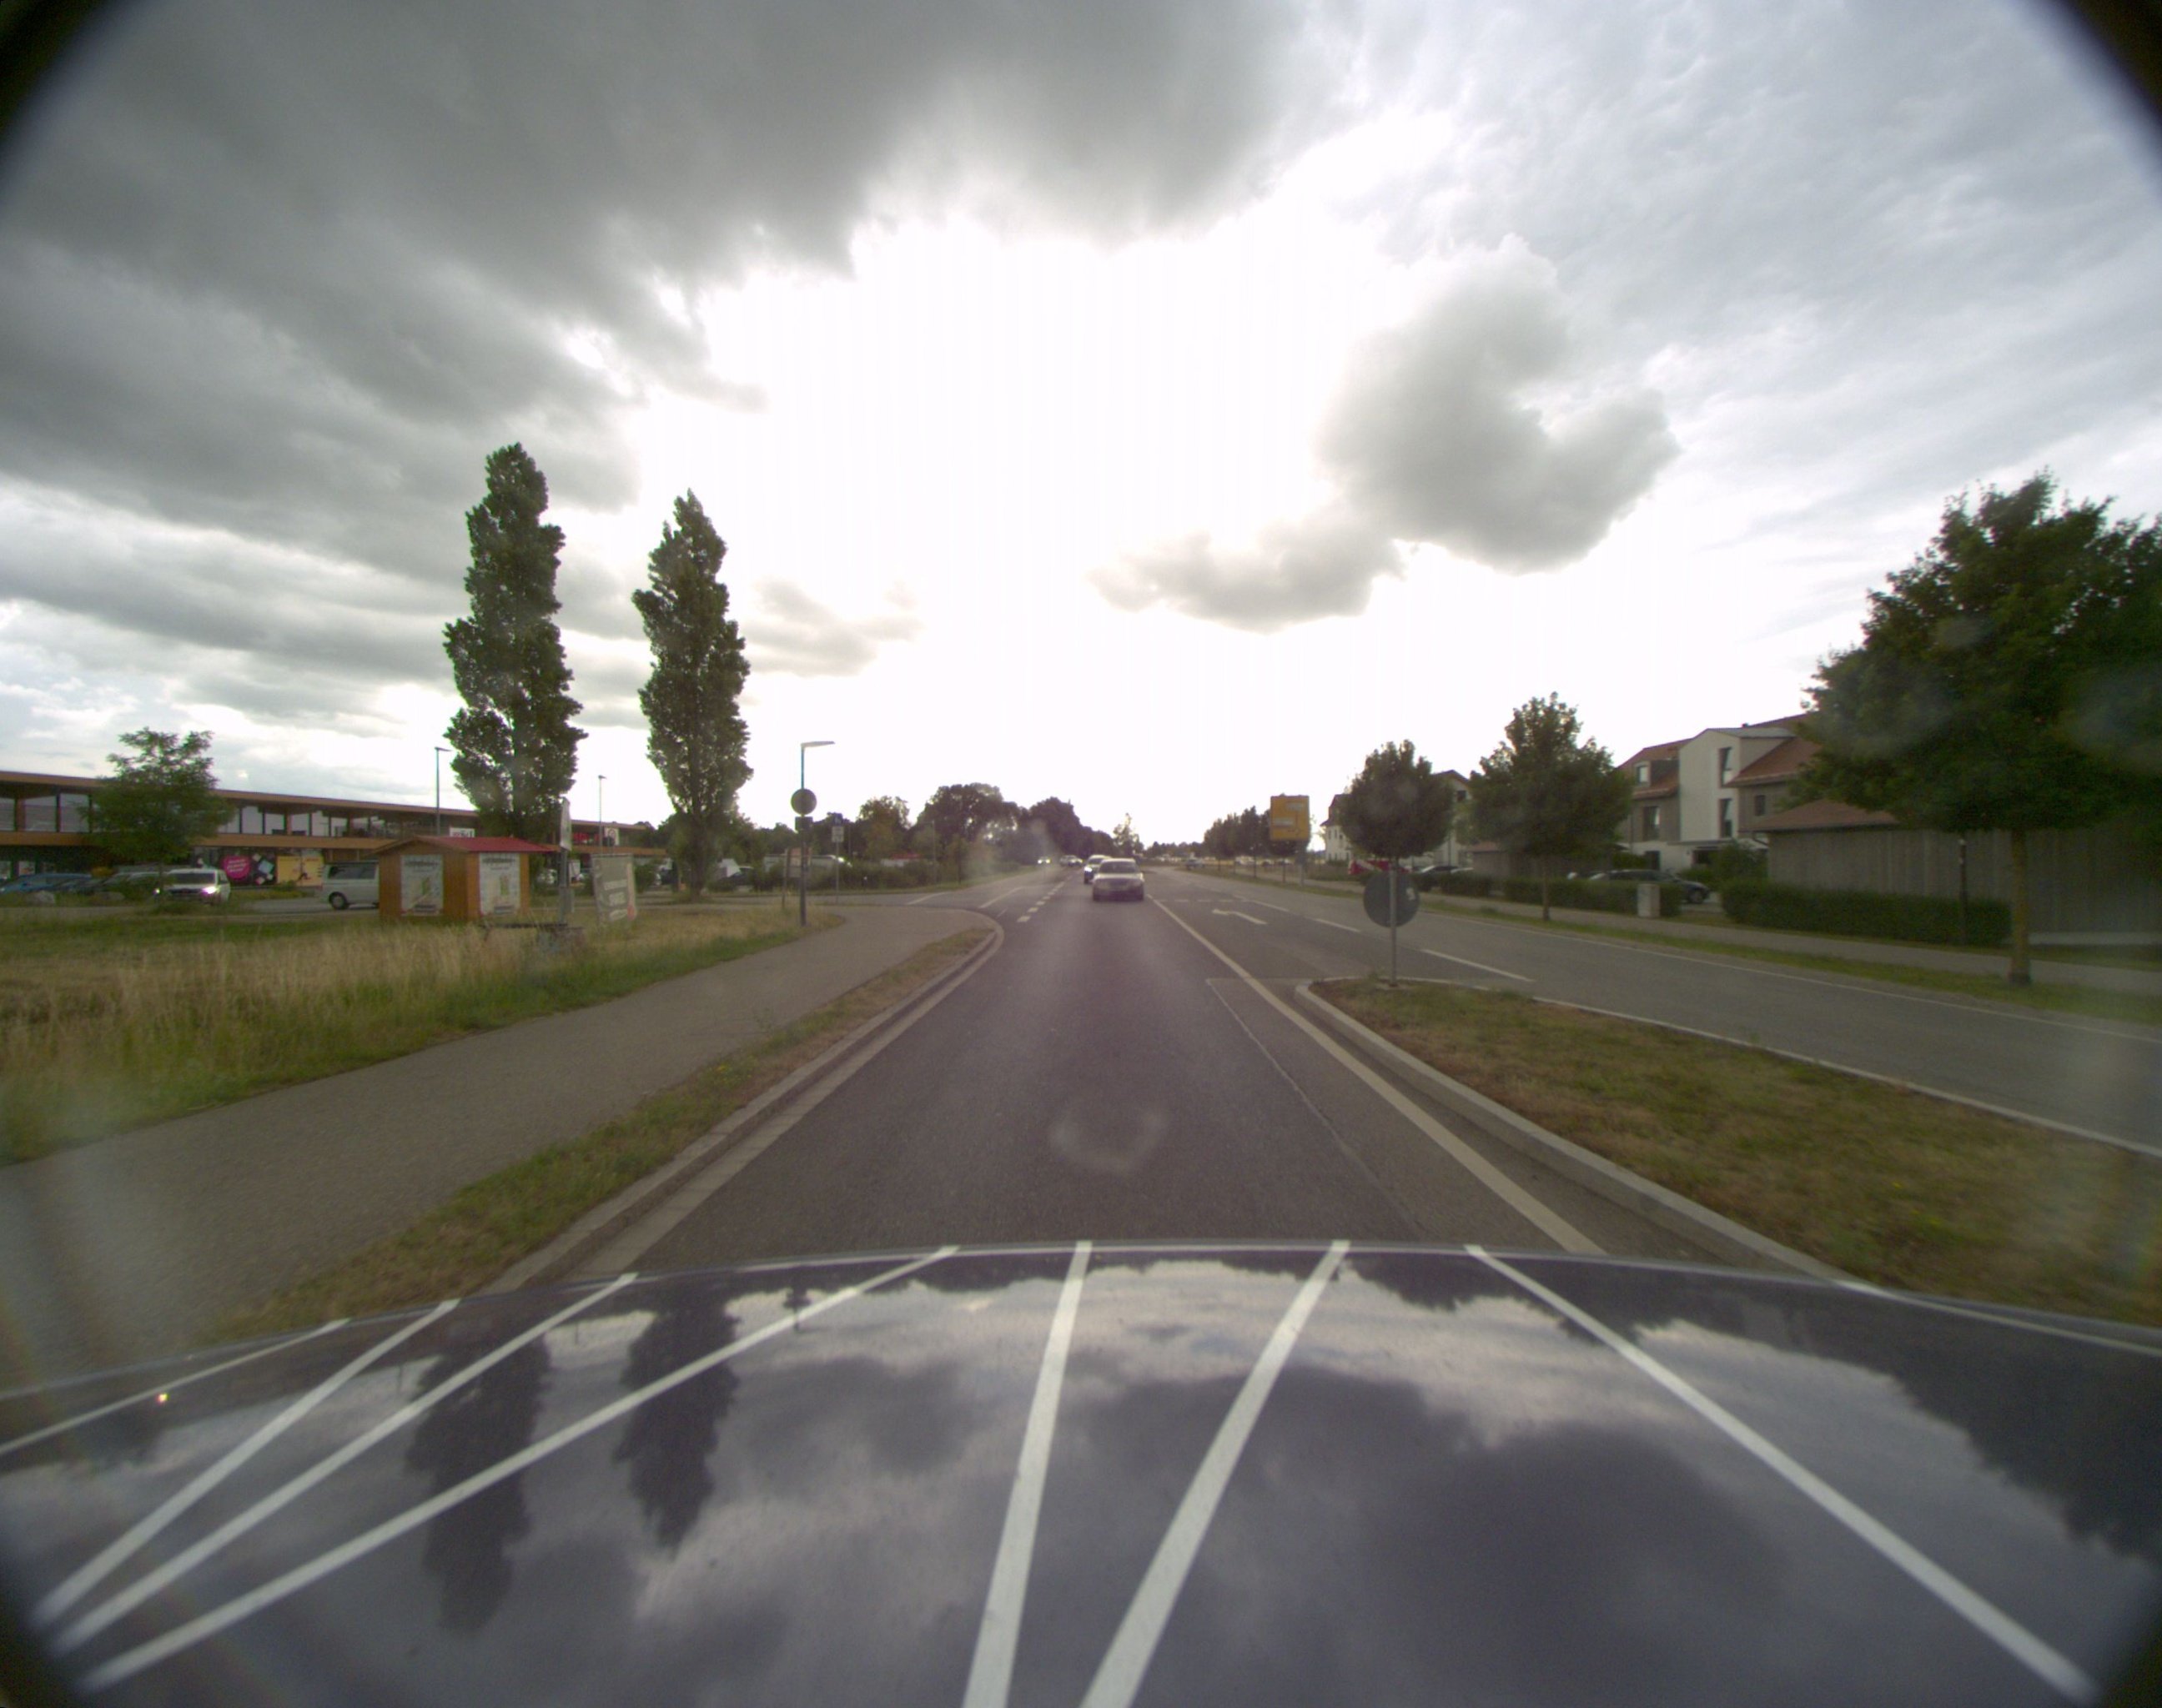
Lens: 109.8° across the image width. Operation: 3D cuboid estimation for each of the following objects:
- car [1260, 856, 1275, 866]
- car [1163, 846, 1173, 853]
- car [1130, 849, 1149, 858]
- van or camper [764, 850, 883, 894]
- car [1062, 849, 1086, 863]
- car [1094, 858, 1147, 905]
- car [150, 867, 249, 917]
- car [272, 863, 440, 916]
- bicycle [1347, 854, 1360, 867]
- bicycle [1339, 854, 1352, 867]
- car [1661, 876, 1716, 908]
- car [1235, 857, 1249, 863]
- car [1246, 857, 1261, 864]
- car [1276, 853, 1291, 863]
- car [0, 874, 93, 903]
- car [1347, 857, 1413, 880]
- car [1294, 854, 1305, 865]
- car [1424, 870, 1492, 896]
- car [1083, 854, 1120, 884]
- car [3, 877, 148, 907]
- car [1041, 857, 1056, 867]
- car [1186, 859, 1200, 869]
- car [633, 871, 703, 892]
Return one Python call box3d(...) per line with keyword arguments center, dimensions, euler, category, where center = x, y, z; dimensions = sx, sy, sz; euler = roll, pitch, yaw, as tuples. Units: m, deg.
box3d(center=(37.842, 1.376, 154.088), dimensions=(1.995, 2.002, 4.008), euler=(1, 0, 26), category="car")
box3d(center=(18.521, -1.001, 162.197), dimensions=(1.774, 1.435, 4.000), euler=(1, 0, 1), category="car")
box3d(center=(11.889, -0.028, 153.672), dimensions=(1.994, 1.674, 4.009), euler=(1, 0, 38), category="car")
box3d(center=(-15.695, 1.086, 46.583), dimensions=(6.483, 2.449, 2.281), euler=(1, 0, -1), category="van or camper")
box3d(center=(-1.081, 0.257, 116.041), dimensions=(2.003, 2.002, 4.233), euler=(1, 0, -25), category="car")
box3d(center=(1.451, 0.921, 27.004), dimensions=(1.700, 1.457, 4.001), euler=(1, 0, 4), category="car")
box3d(center=(-39.561, 1.642, 34.227), dimensions=(2.004, 2.002, 3.989), euler=(1, 0, -36), category="car")
box3d(center=(-30.241, 1.444, 31.778), dimensions=(5.228, 2.002, 2.001), euler=(1, 0, 3), category="car")
box3d(center=(30.102, 0.718, 83.931), dimensions=(0.684, 1.420, 2.095), euler=(1, 0, 1), category="bicycle")
box3d(center=(29.217, 0.697, 83.929), dimensions=(0.684, 1.409, 2.095), euler=(1, 0, 1), category="bicycle")
box3d(center=(26.101, 1.596, 32.754), dimensions=(1.656, 1.237, 4.009), euler=(1, 0, 36), category="car")
box3d(center=(33.142, 1.275, 156.480), dimensions=(1.995, 1.280, 4.008), euler=(1, 0, 26), category="car")
box3d(center=(35.335, 1.334, 155.428), dimensions=(1.995, 1.280, 4.008), euler=(1, 0, 26), category="car")
box3d(center=(40.575, 0.859, 152.200), dimensions=(1.995, 2.002, 4.008), euler=(1, 0, 26), category="car")
box3d(center=(-57.668, 1.849, 41.421), dimensions=(1.998, 1.402, 4.200), euler=(1, 0, 2), category="car")
box3d(center=(25.603, 1.218, 65.164), dimensions=(4.915, 1.805, 1.907), euler=(1, 0, 7), category="car")
box3d(center=(43.320, 1.060, 150.601), dimensions=(1.996, 2.002, 4.006), euler=(1, 0, 17), category="car")
box3d(center=(23.875, 1.840, 48.178), dimensions=(3.523, 1.480, 1.563), euler=(1, 0, 1), category="car")
box3d(center=(1.223, 0.800, 43.149), dimensions=(1.869, 1.578, 5.063), euler=(0, 0, 4), category="car")
box3d(center=(-52.329, 1.938, 39.694), dimensions=(1.837, 1.341, 4.257), euler=(1, 0, 3), category="car")
box3d(center=(-5.430, 1.362, 126.778), dimensions=(1.998, 1.674, 4.001), euler=(1, 0, 4), category="car")
box3d(center=(17.459, 1.560, 118.488), dimensions=(1.774, 1.435, 4.000), euler=(1, 0, 1), category="car")
box3d(center=(-30.922, 2.042, 56.919), dimensions=(4.188, 1.424, 1.902), euler=(1, 0, 0), category="car")
